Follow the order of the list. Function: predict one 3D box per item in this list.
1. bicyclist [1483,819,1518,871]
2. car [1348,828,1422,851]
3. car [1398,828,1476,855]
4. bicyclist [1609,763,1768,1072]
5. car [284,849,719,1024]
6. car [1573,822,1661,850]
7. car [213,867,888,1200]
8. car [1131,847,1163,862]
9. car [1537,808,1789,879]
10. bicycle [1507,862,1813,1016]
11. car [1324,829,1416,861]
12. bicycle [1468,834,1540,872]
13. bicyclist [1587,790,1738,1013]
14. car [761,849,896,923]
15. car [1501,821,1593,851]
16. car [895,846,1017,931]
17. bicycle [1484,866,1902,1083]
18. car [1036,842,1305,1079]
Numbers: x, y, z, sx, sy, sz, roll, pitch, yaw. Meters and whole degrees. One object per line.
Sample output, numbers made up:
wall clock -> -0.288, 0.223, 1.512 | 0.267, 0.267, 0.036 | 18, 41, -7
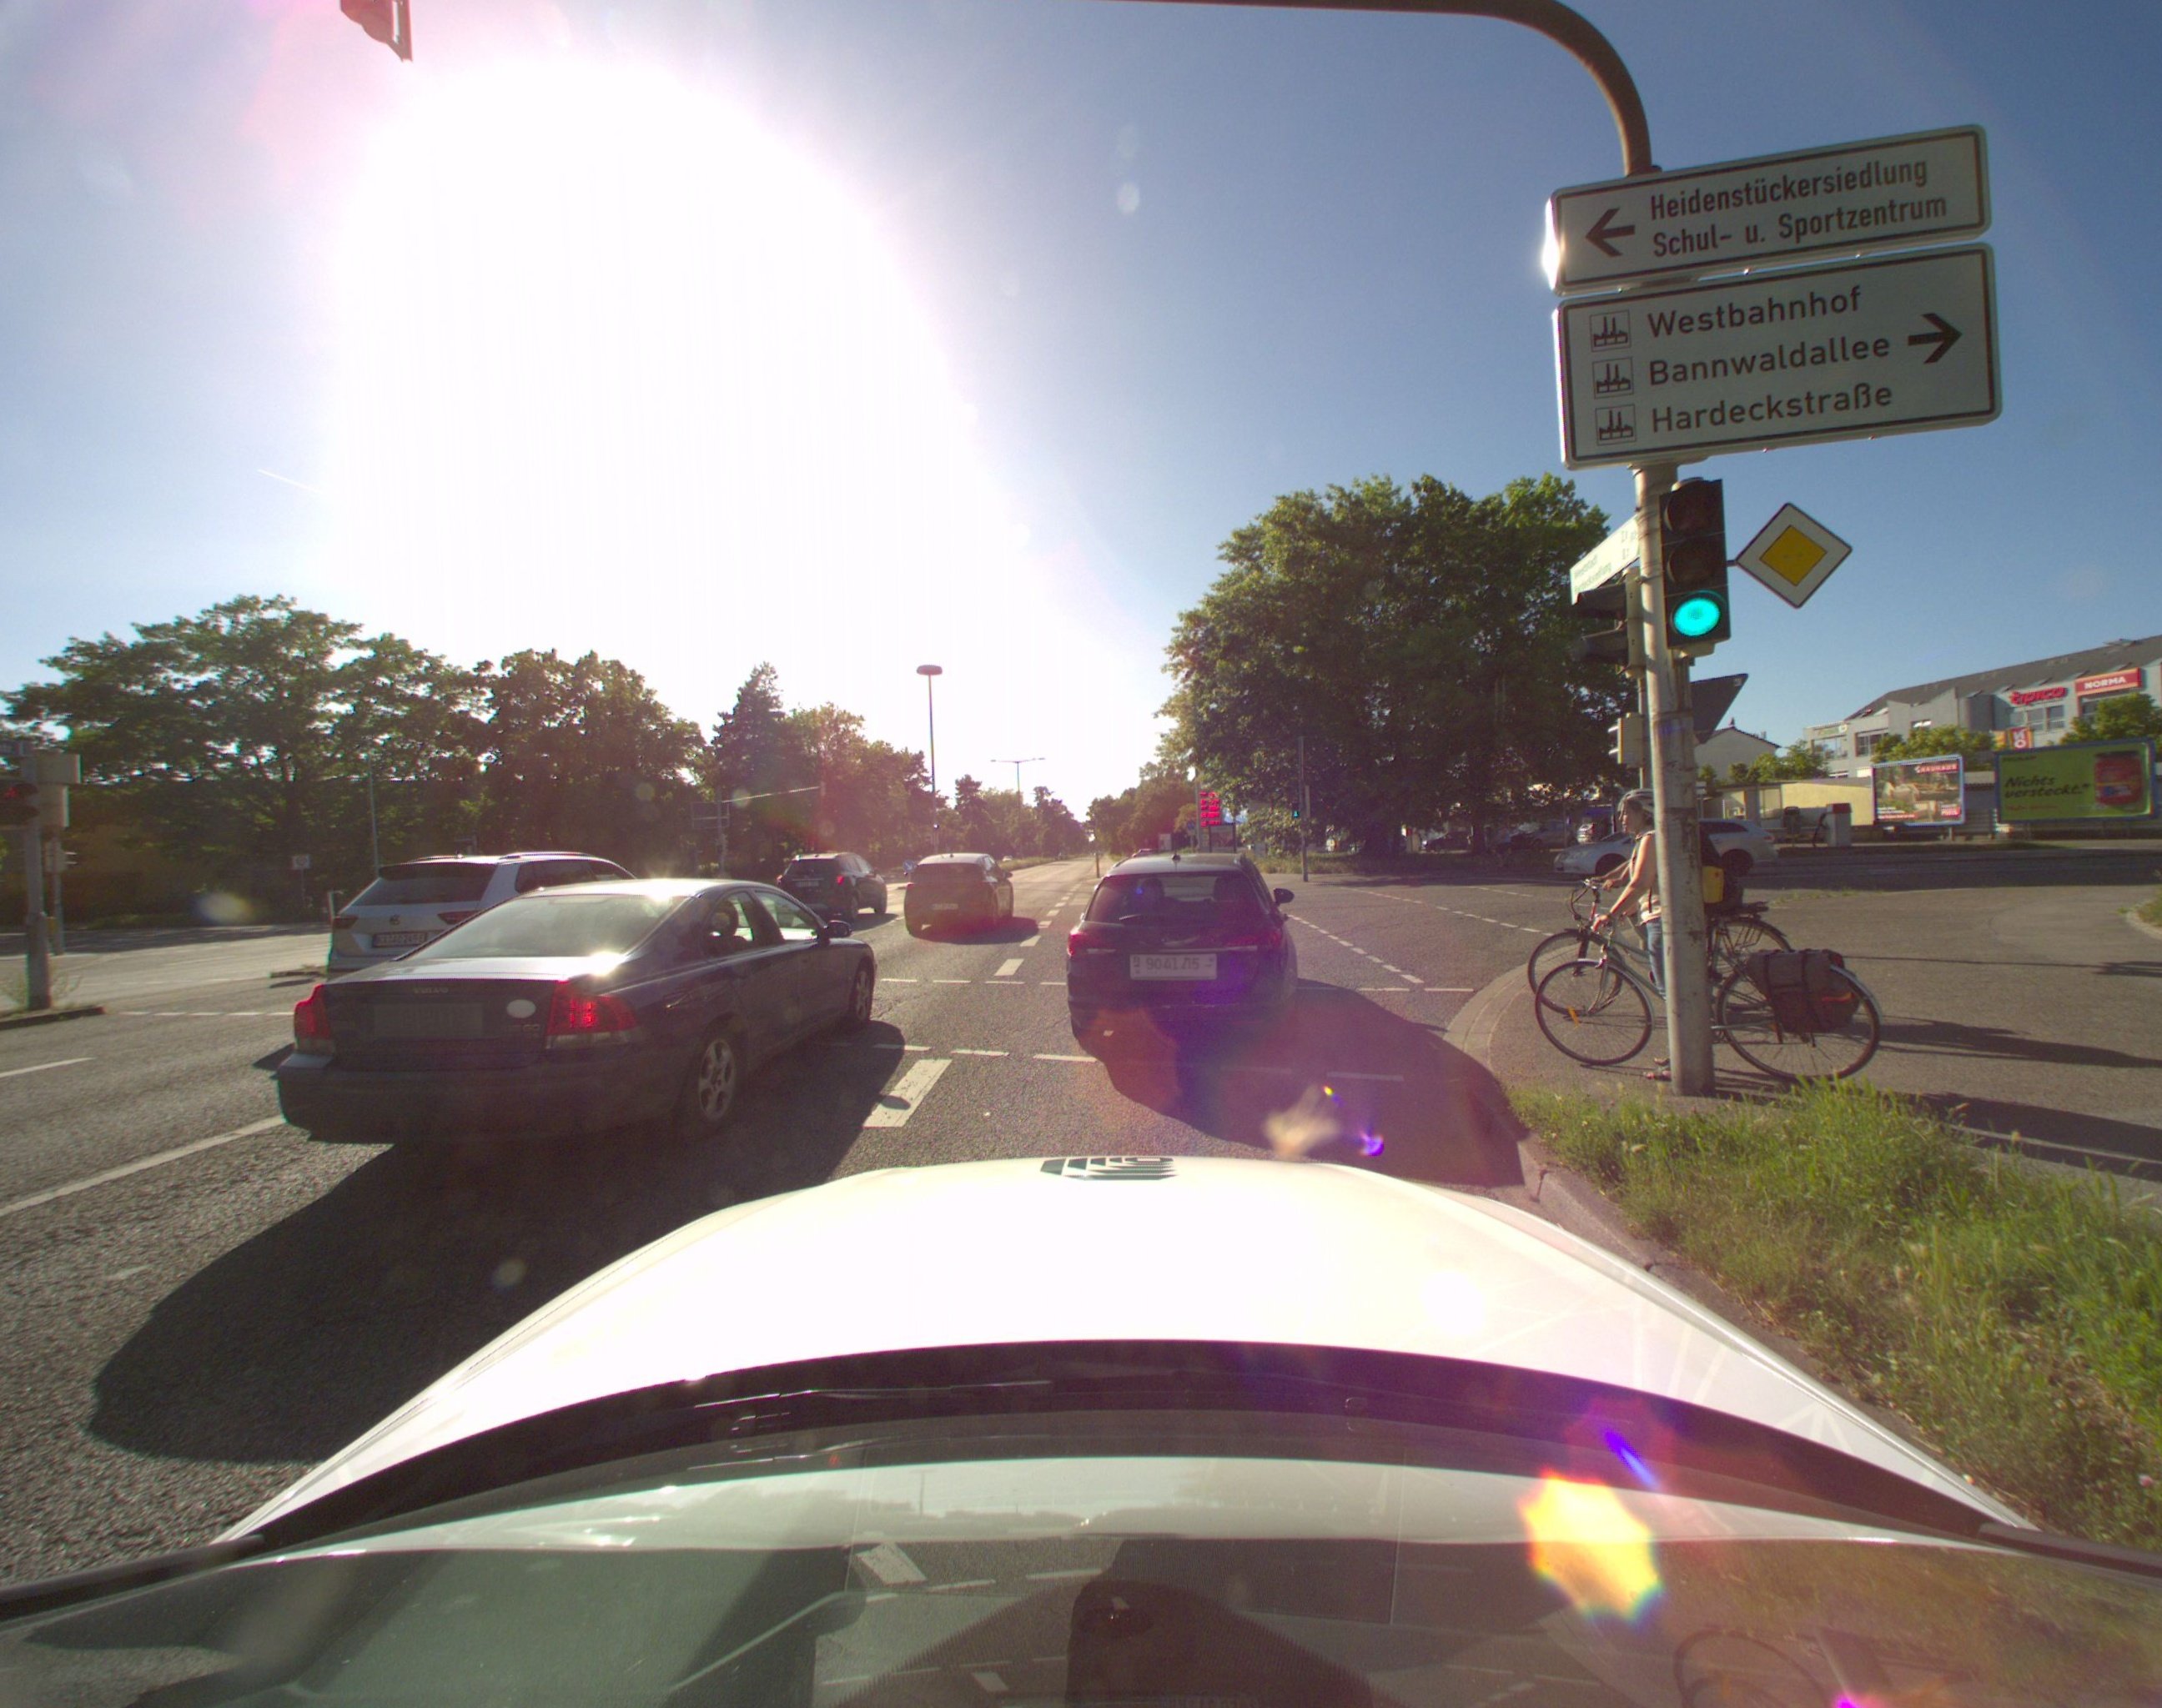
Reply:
bicyclist -> 13.842, -0.293, 26.894 | 0.823, 1.641, 0.544 | -3, 0, 7
car -> 18.920, -0.883, 50.730 | 3.987, 1.335, 1.793 | -1, 0, -10
car -> 20.888, -0.743, 47.800 | 3.985, 1.512, 1.527 | -1, 0, -9
bicyclist -> 3.622, 0.363, 4.860 | 0.578, 1.697, 0.530 | -7, -4, 41
car -> -6.509, 0.791, 9.943 | 1.934, 1.653, 4.370 | -1, 0, 5
car -> 32.268, -1.069, 49.096 | 3.974, 1.607, 2.000 | -1, 0, 0
car -> -2.869, 0.830, 5.780 | 1.830, 1.395, 4.366 | -1, 0, 2
car -> 8.872, 0.045, 109.563 | 2.010, 2.014, 3.954 | 0, 0, -39
car -> 14.551, -0.226, 20.684 | 4.839, 1.489, 1.849 | -3, -1, 13
bicycle -> 4.499, 0.659, 6.469 | 1.846, 1.077, 0.534 | -5, -4, 36
car -> 19.834, -0.602, 56.100 | 5.616, 2.099, 2.000 | -1, 0, 0
bicycle -> 13.952, -0.036, 26.879 | 2.008, 1.141, 0.530 | -3, 0, 7
bicyclist -> 4.556, 0.379, 6.418 | 0.797, 1.635, 0.546 | -6, -4, 35
car -> -6.170, 0.721, 20.449 | 1.903, 1.653, 4.366 | -1, 0, 2
car -> 22.407, -0.868, 39.158 | 4.003, 1.376, 1.747 | 0, 0, -22
car -> -2.528, 0.664, 17.563 | 1.830, 1.588, 4.366 | -1, 0, 2
bicycle -> 3.550, 0.686, 4.906 | 1.846, 1.076, 0.534 | -7, -5, 41
car -> 1.039, 0.692, 7.567 | 1.750, 1.491, 4.306 | -2, 1, 12
